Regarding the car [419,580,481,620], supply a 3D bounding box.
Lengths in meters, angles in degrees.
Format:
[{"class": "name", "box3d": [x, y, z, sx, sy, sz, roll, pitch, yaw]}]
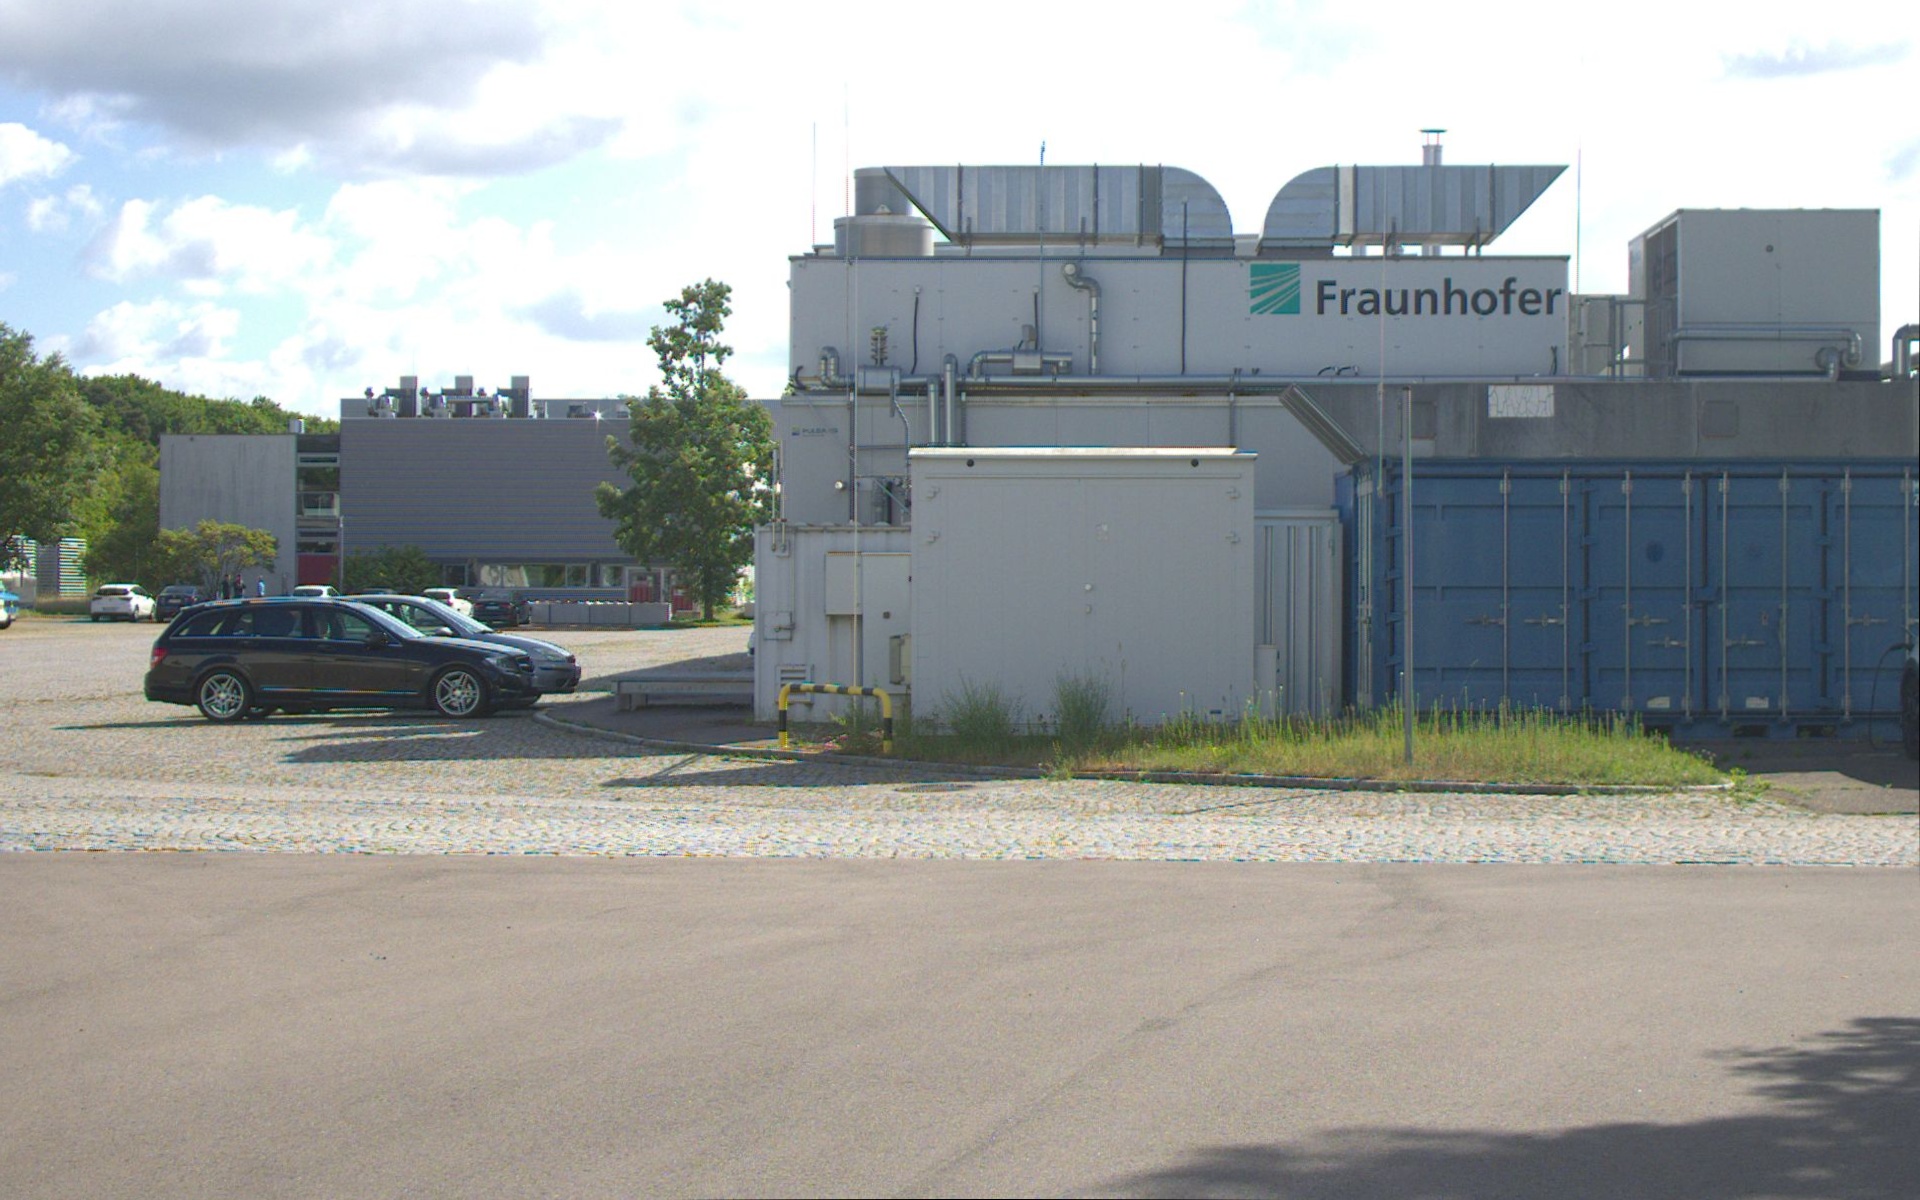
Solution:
[{"class": "car", "box3d": [-20.509, -0.009, 138.455, 1.877, 1.532, 4.035, -2, 0, 0]}]

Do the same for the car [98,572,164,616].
[{"class": "car", "box3d": [-33.438, -0.228, 138.755, 1.846, 1.663, 4.134, -2, 0, -3]}]

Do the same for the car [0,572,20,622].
[{"class": "car", "box3d": [-33.027, -0.110, 112.263, 4.111, 1.625, 1.807, 1, 0, 6]}]

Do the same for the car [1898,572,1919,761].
[{"class": "car", "box3d": [9.069, 0.605, 27.618, 1.981, 1.588, 4.340, 0, 1, 2]}]

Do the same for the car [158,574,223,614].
[{"class": "car", "box3d": [-30.989, -0.238, 138.542, 1.877, 1.532, 4.036, -2, 0, -3]}]

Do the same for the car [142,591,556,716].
[{"class": "car", "box3d": [-7.203, 0.645, 40.851, 4.530, 1.438, 1.987, 0, -1, 2]}]

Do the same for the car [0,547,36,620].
[{"class": "car", "box3d": [-33.912, -0.564, 115.240, 5.259, 2.433, 2.049, 1, 0, 6]}]

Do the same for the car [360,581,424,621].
[{"class": "car", "box3d": [-22.842, 0.062, 138.323, 1.877, 1.532, 4.035, -2, 0, 0]}]

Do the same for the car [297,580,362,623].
[{"class": "car", "box3d": [-25.404, 0.065, 138.573, 1.877, 1.684, 4.035, -2, 0, 0]}]

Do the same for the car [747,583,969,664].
[{"class": "car", "box3d": [-1.998, 0.488, 68.416, 4.279, 1.564, 1.987, 0, -2, 2]}]

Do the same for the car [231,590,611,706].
[{"class": "car", "box3d": [-6.860, 0.631, 44.098, 4.530, 1.438, 1.904, 0, -2, 2]}]
